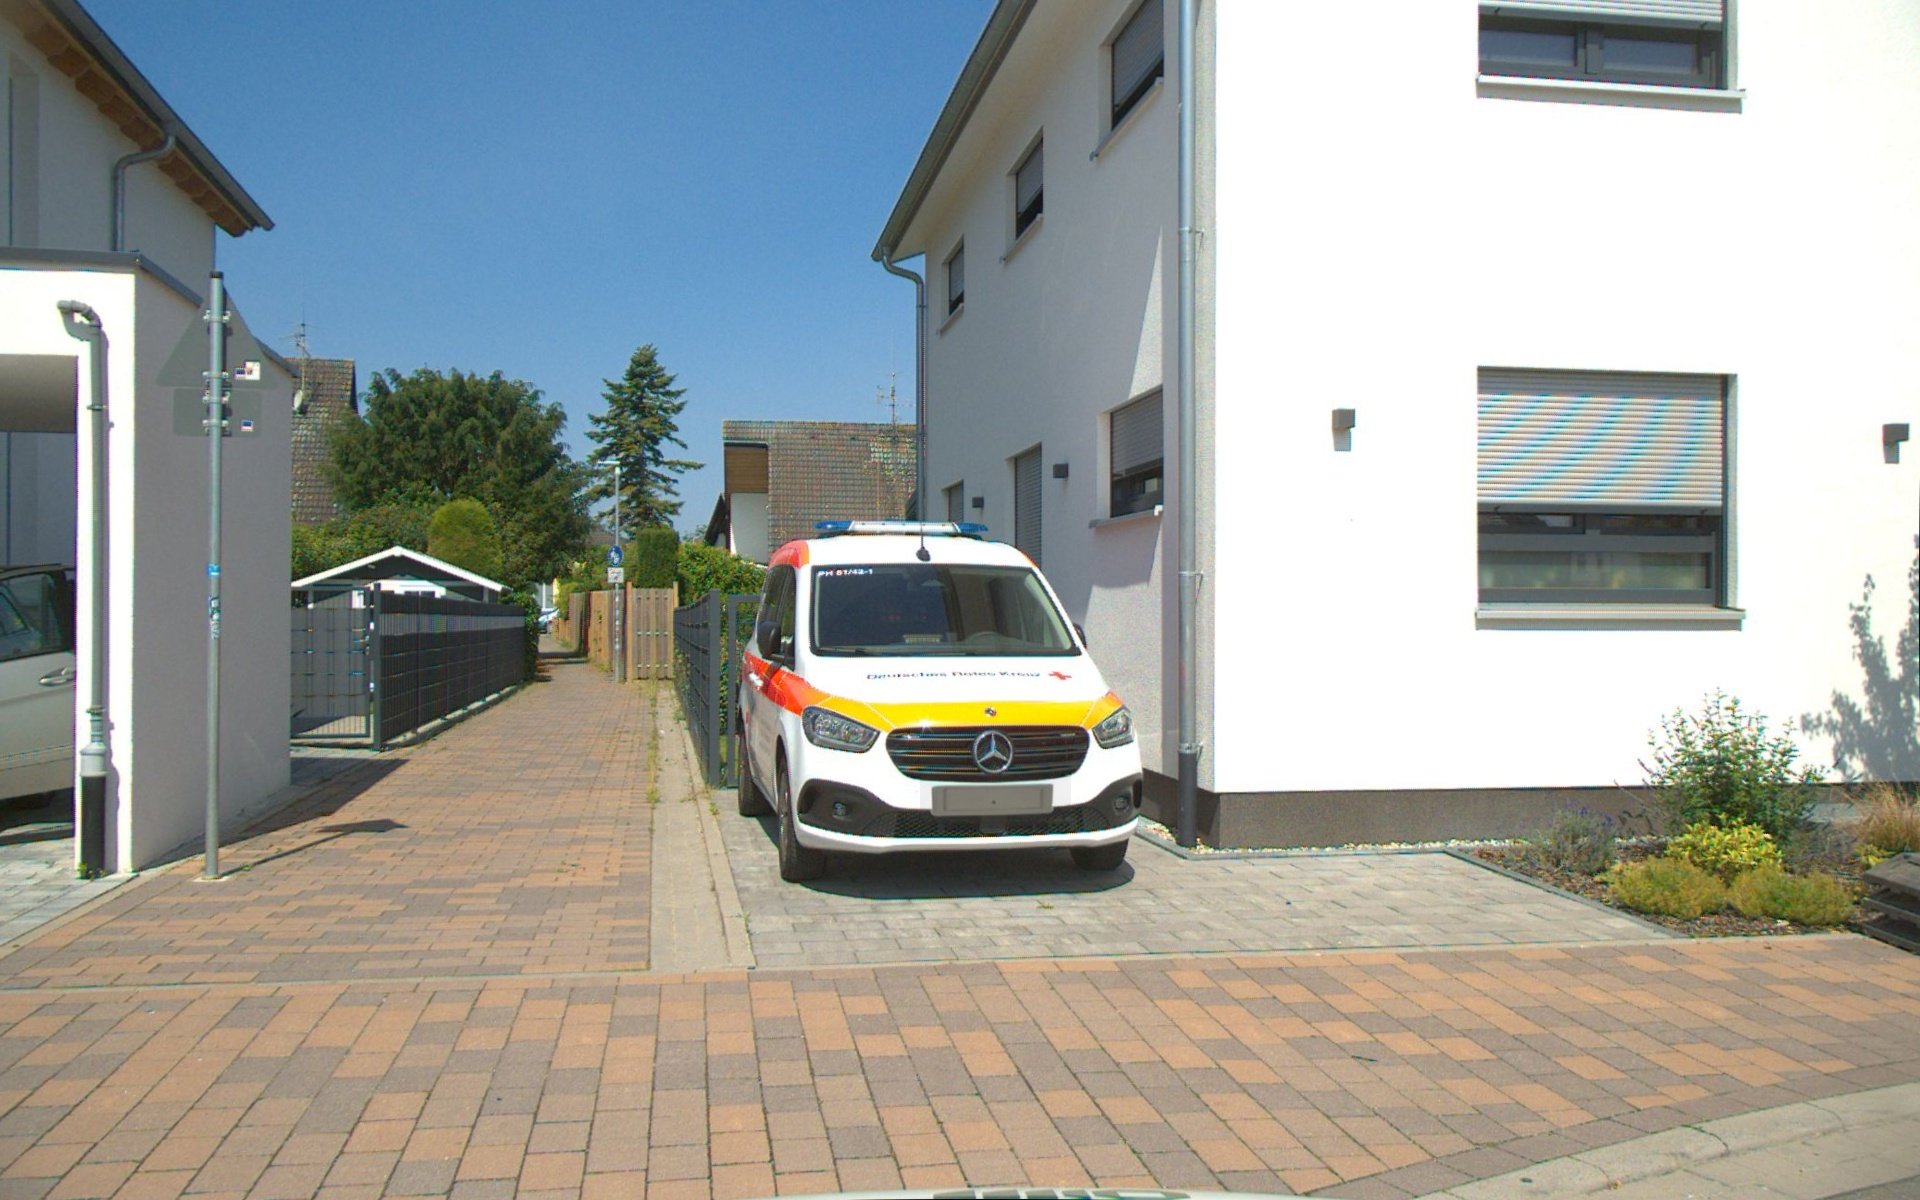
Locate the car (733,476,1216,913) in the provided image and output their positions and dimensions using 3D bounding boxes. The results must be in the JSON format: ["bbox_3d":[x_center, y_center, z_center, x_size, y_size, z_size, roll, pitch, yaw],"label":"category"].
[{"bbox_3d":[-0.221,0.436,9.755,1.898,1.908,4.737,0,-1,-12],"label":"car"}]

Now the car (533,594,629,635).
[{"bbox_3d":[-16.636,0.634,72.744,4.074,1.747,1.900,0,0,-12],"label":"car"}]

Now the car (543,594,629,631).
[{"bbox_3d":[-18.329,0.609,81.248,4.074,1.747,1.900,0,0,-12],"label":"car"}]

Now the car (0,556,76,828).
[{"bbox_3d":[-6.311,0.532,8.970,1.710,1.589,4.149,0,-1,-14],"label":"car"}]
